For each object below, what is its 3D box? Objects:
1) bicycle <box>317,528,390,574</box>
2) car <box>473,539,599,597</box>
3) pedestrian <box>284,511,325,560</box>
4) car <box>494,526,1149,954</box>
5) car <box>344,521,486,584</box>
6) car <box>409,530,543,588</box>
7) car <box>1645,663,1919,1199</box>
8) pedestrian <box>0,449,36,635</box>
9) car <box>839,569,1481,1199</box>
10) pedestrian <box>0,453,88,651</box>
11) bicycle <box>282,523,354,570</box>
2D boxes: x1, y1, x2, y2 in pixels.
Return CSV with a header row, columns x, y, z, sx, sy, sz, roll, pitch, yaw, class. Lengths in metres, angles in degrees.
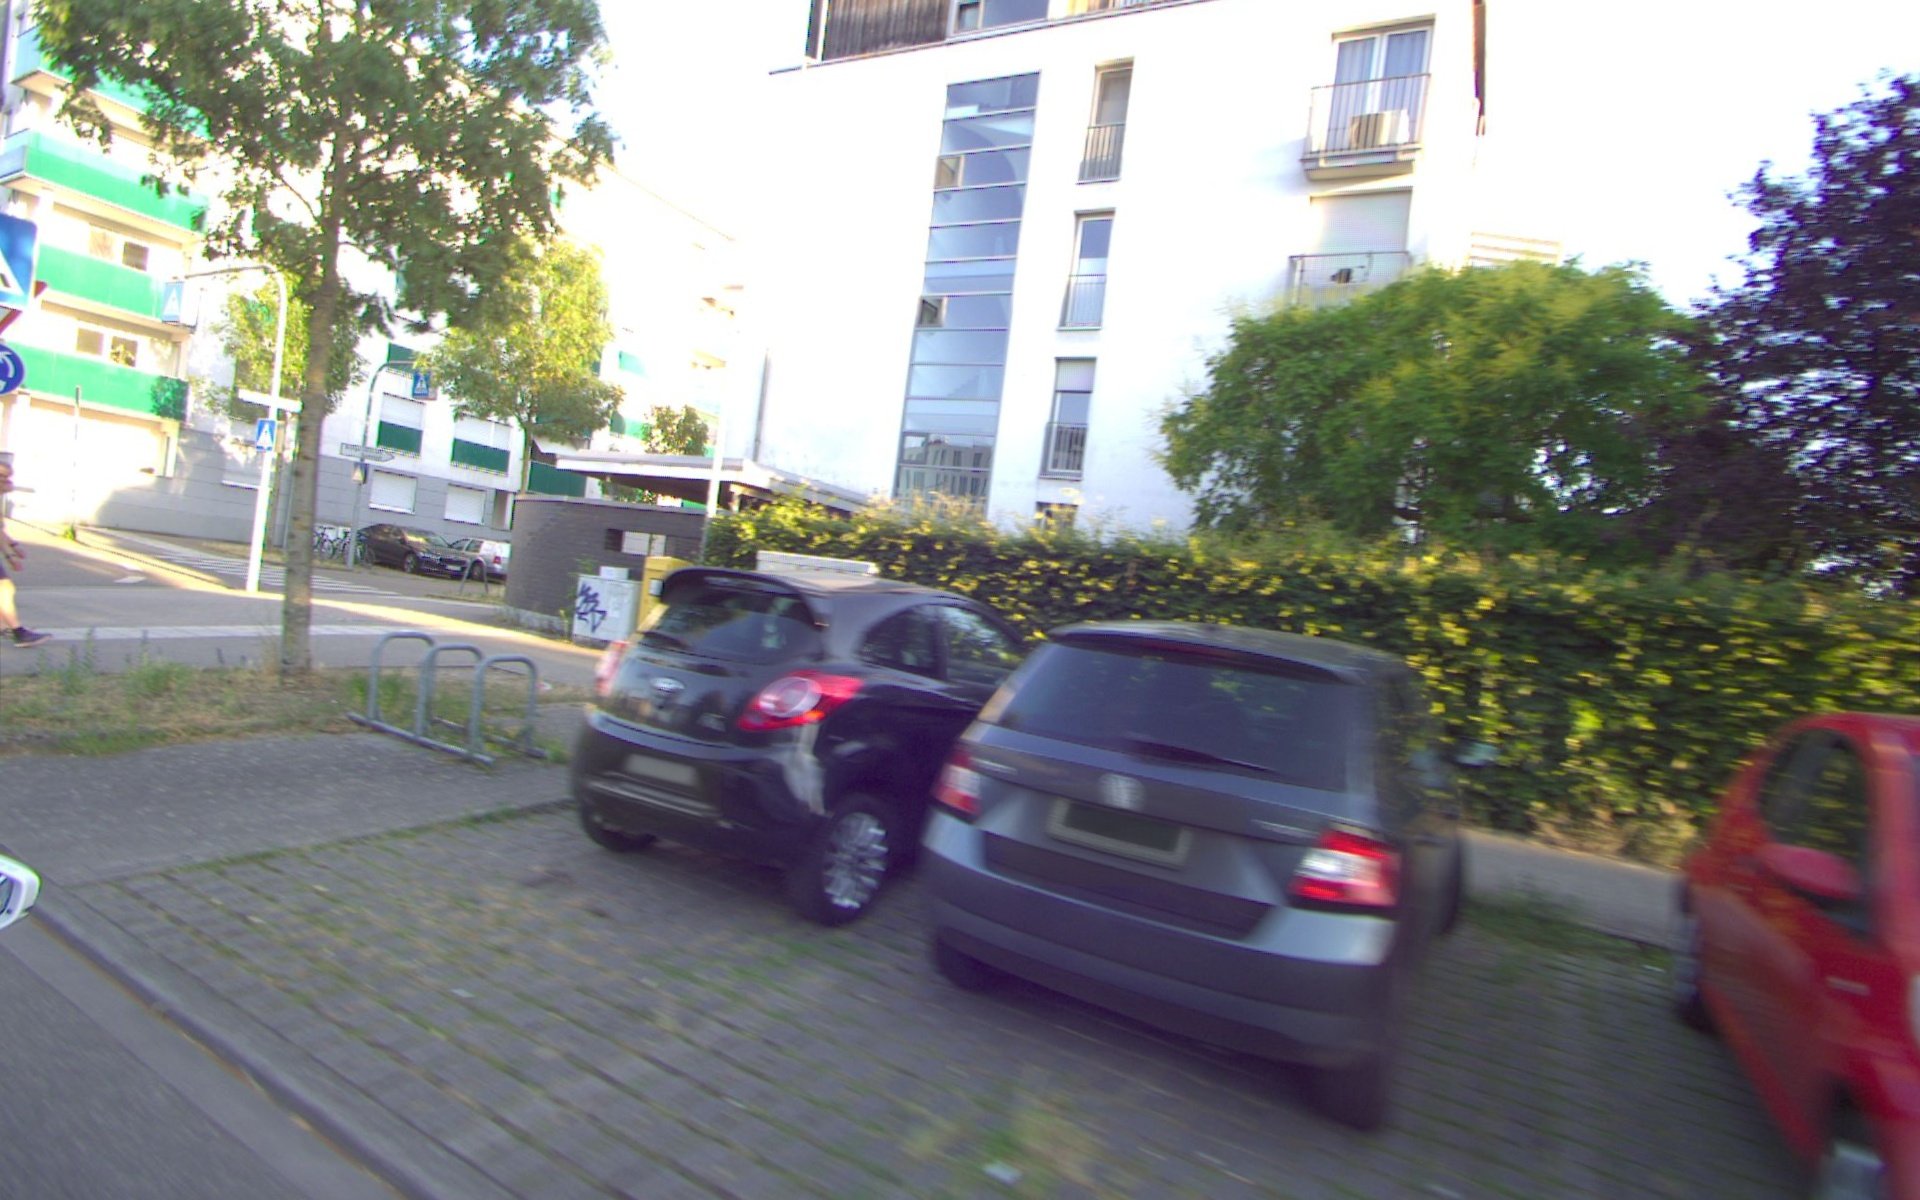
x,y,z,sx,sy,sz,roll,pitch,yaw,class
-18.871,-1.531,31.290,2.478,1.165,0.689,7,1,29,bicycle
-16.145,-1.231,38.272,4.515,1.572,1.997,7,0,30,car
-20.301,-1.996,31.149,0.789,1.372,0.658,8,1,29,pedestrian
-0.415,0.635,5.863,1.651,1.527,3.808,7,-1,31,car
-18.196,-1.591,33.579,4.515,1.471,1.997,7,0,30,car
-17.314,-1.463,35.933,4.515,1.471,1.997,7,0,30,car
3.439,1.097,3.132,1.650,1.527,3.809,8,0,29,car
-9.279,-0.557,9.229,0.687,1.718,0.984,7,6,20,pedestrian
1.317,0.882,4.629,1.650,1.527,3.809,8,0,29,car
-8.634,-0.451,8.980,0.745,1.717,1.020,7,5,21,pedestrian
-19.655,-1.636,30.771,2.418,1.165,0.697,7,1,29,bicycle
